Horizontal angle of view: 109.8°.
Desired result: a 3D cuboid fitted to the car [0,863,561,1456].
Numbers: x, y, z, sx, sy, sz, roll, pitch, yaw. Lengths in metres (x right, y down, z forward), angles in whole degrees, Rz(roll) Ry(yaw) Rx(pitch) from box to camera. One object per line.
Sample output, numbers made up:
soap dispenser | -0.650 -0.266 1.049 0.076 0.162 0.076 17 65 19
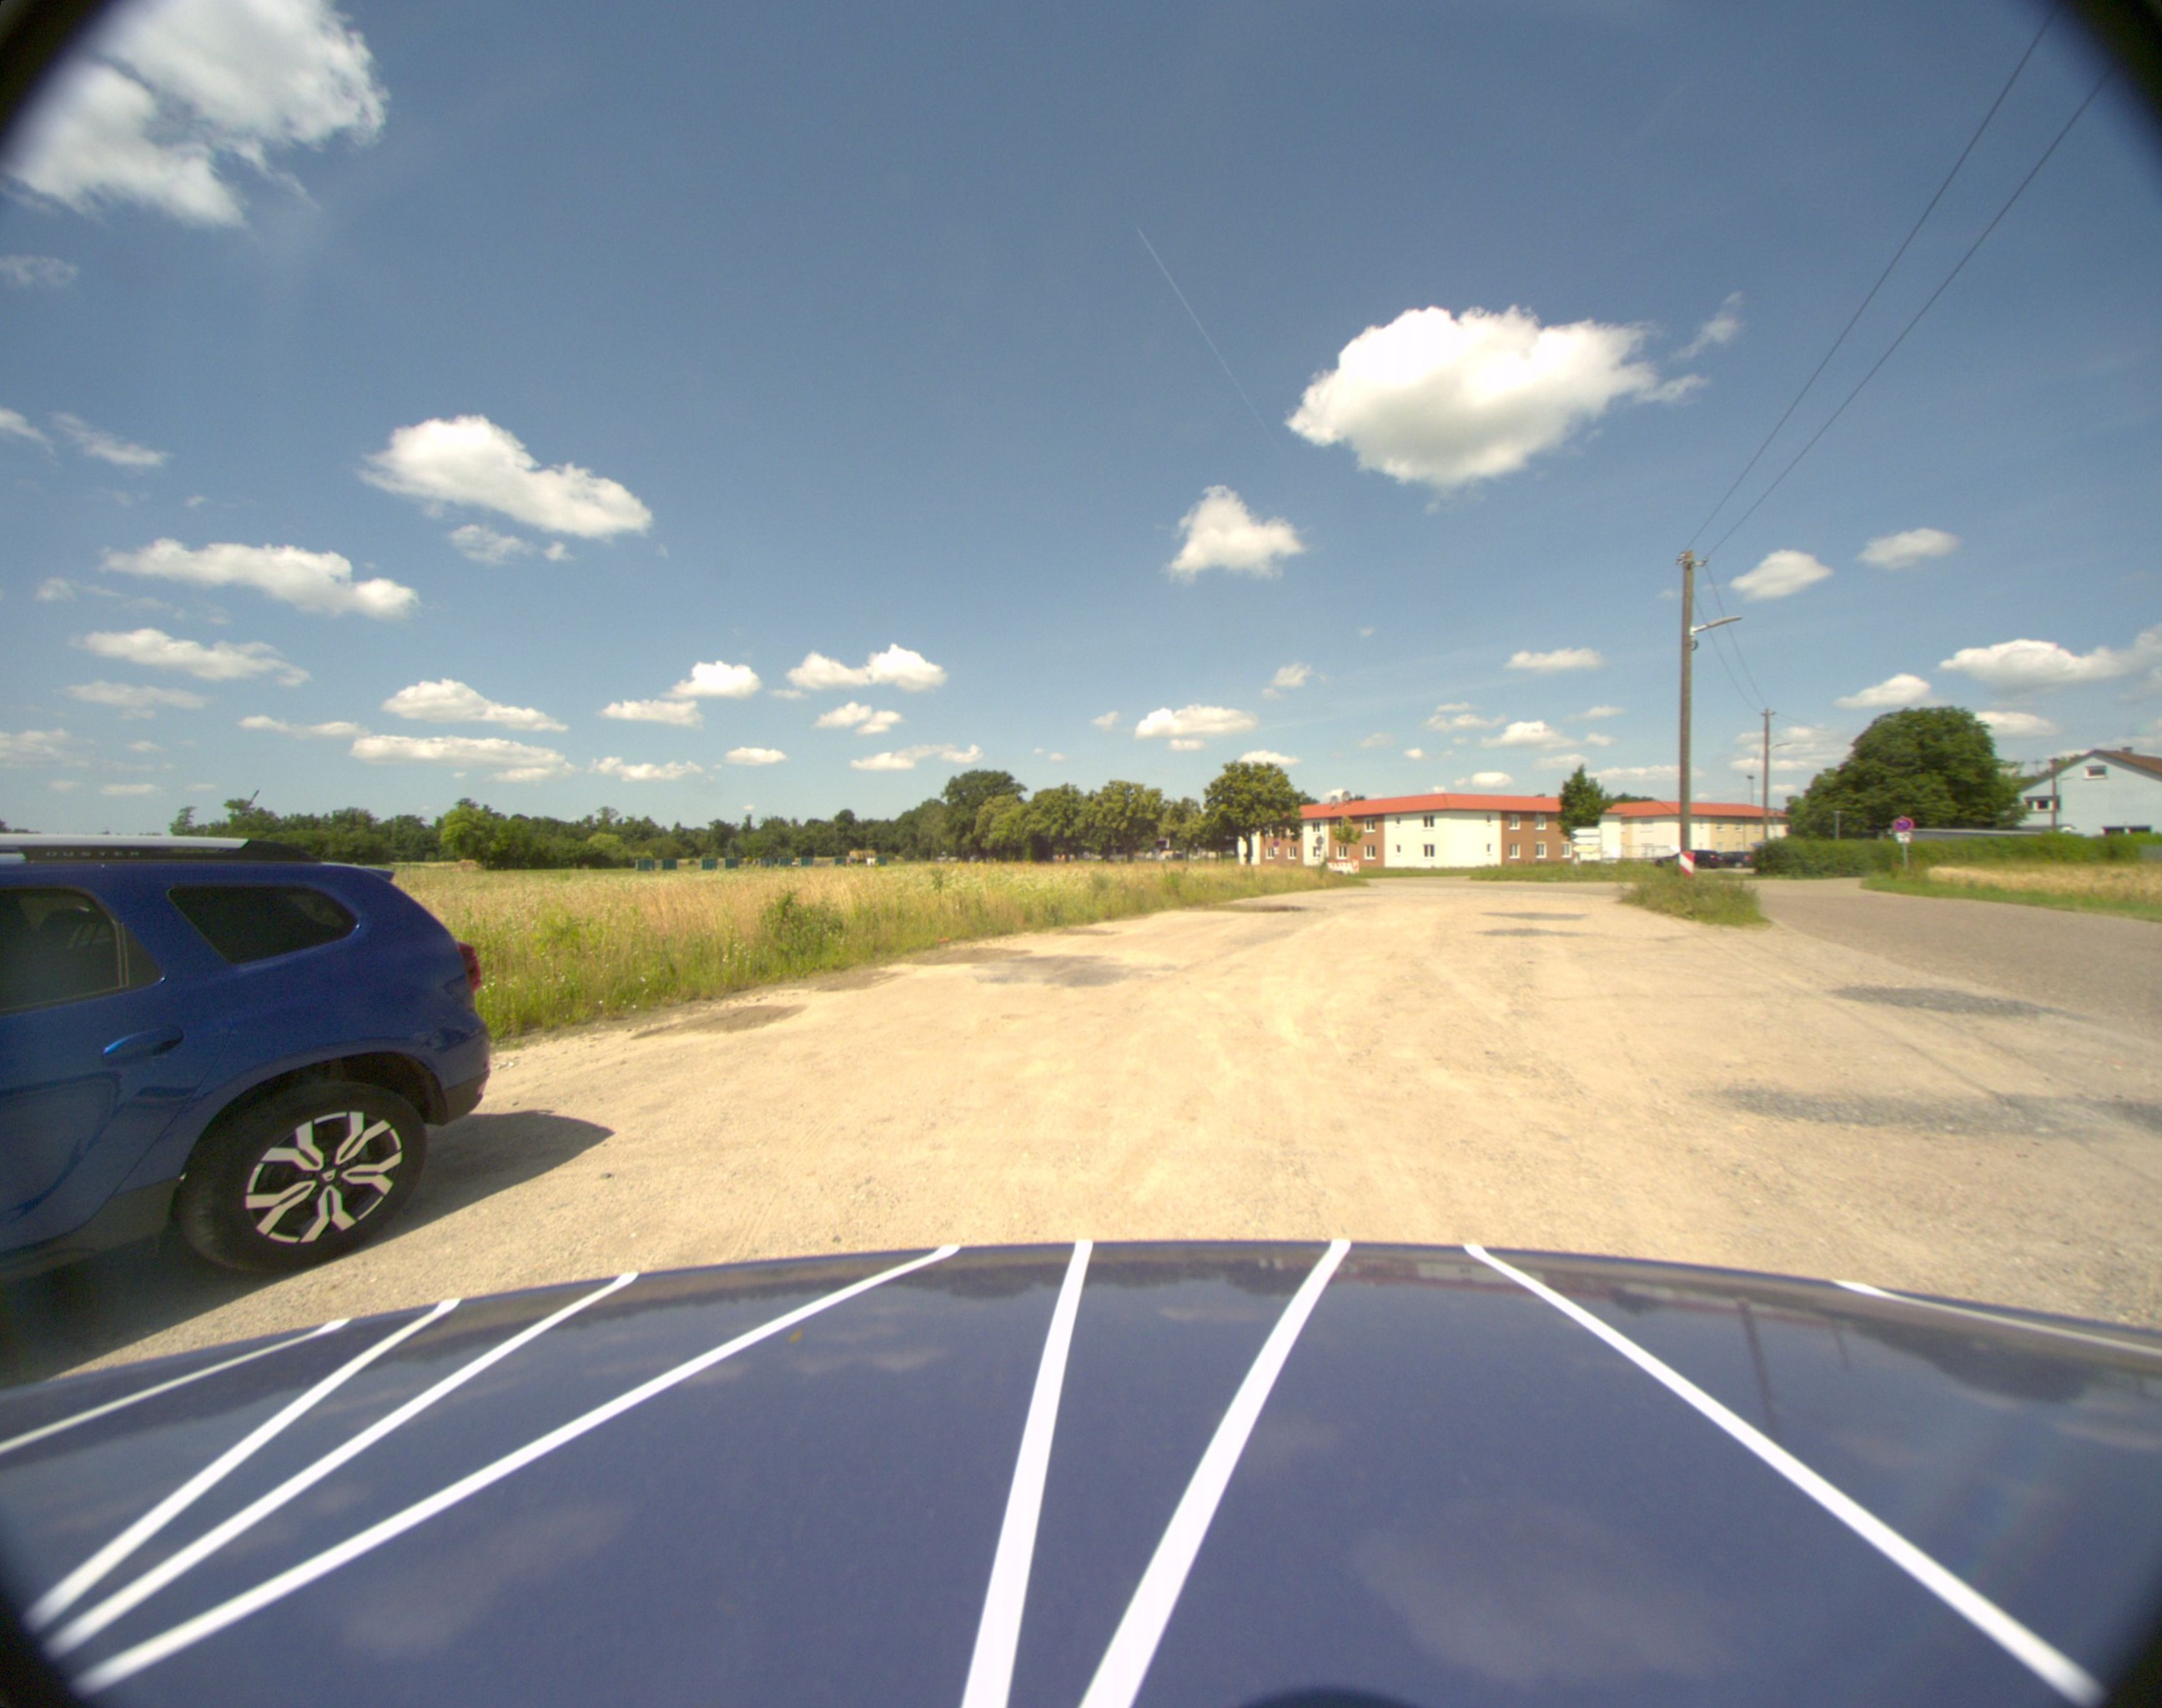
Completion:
car | -4.203 0.941 1.918 1.860 1.651 4.464 -1 1 19

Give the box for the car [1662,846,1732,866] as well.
car | 51.614 0.192 63.739 2.003 1.605 4.139 0 0 -26

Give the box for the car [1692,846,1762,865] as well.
car | 55.305 0.102 65.144 2.003 1.605 4.139 0 0 -26
